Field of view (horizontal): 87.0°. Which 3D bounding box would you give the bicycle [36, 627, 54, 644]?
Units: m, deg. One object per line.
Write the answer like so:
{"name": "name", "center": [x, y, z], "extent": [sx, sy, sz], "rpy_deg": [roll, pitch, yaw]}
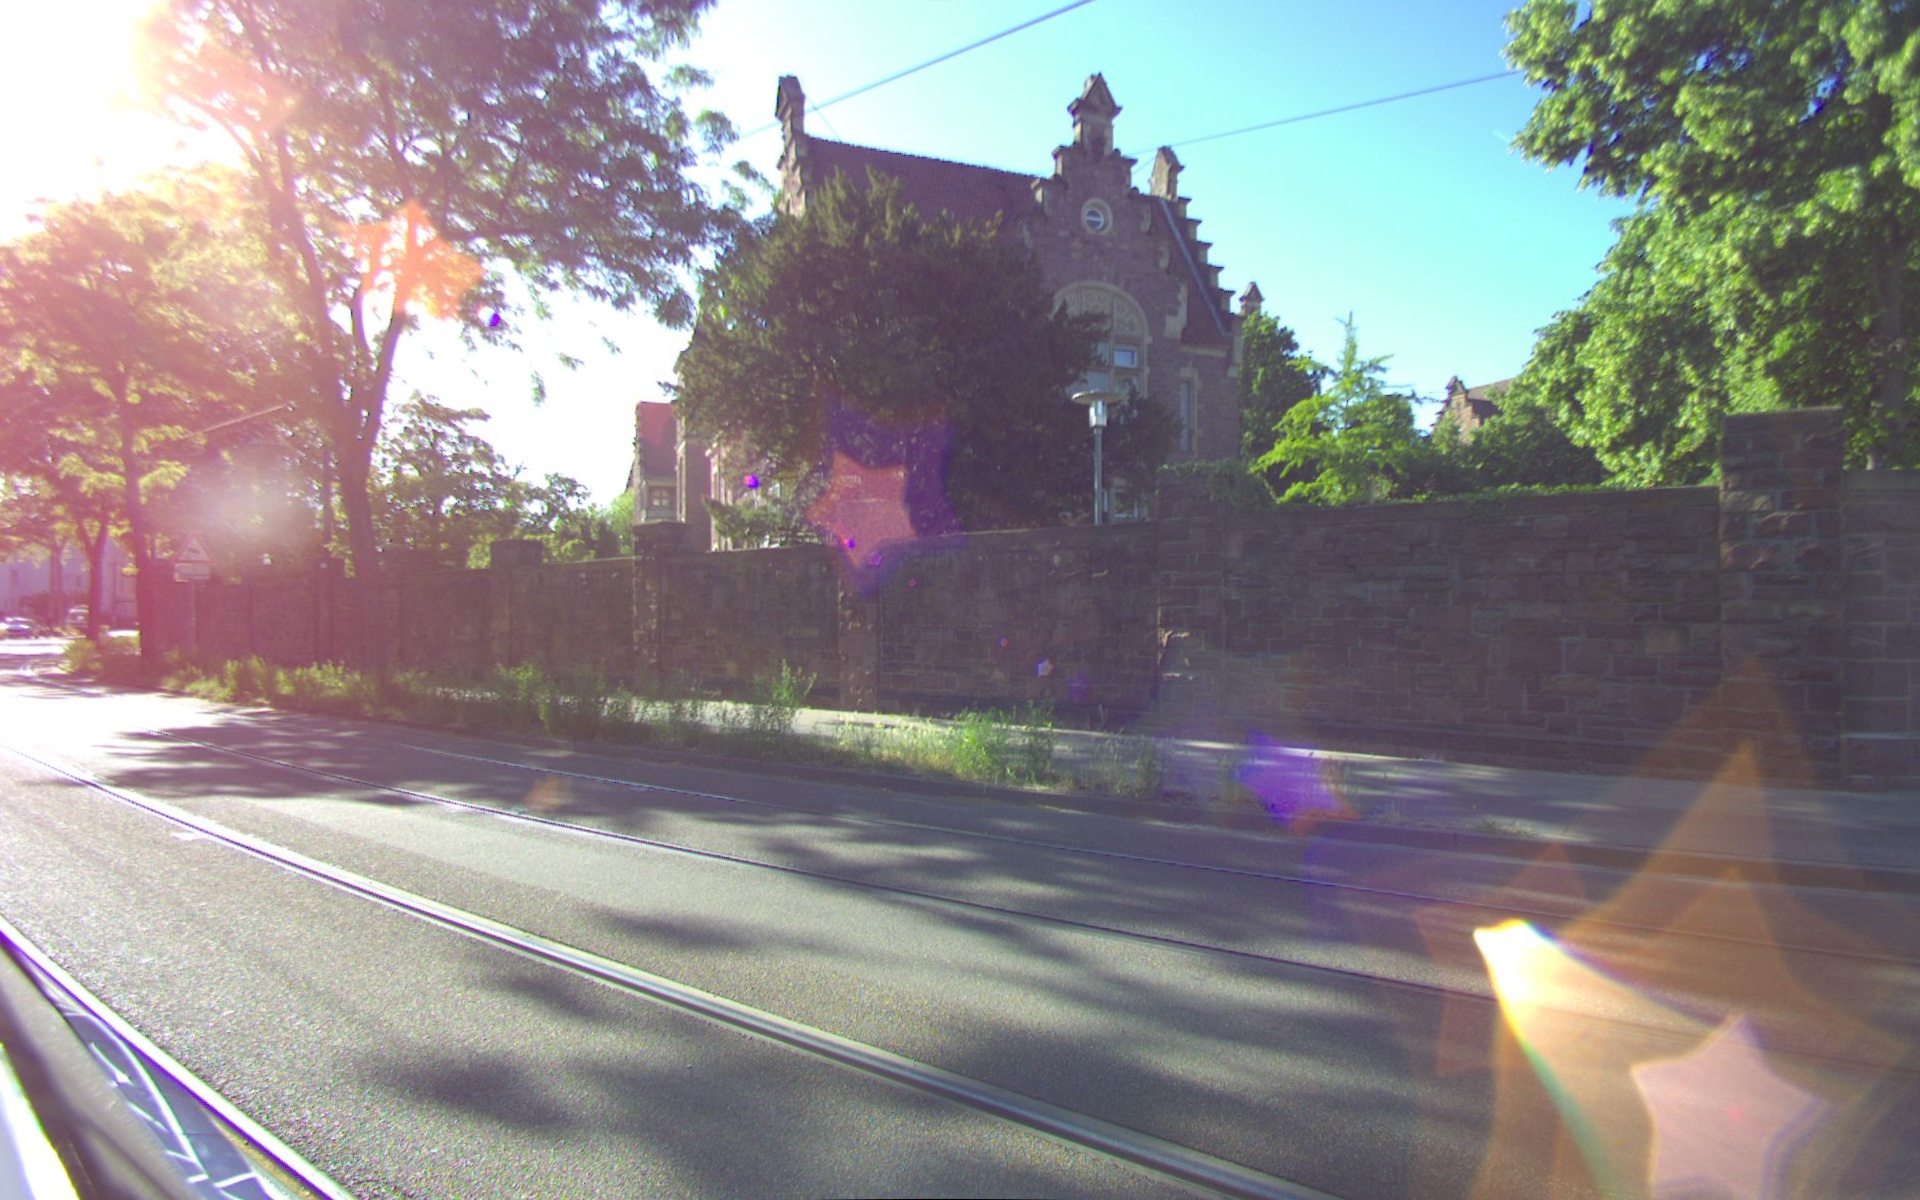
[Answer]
{"name": "bicycle", "center": [-64.510, 2.504, 71.384], "extent": [0.579, 1.120, 1.861], "rpy_deg": [0, -1, -30]}

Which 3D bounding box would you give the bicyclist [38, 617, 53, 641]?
{"name": "bicyclist", "center": [-64.515, 2.029, 71.404], "extent": [0.633, 1.653, 0.667], "rpy_deg": [-1, 0, -31]}

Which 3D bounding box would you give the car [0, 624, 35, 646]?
{"name": "car", "center": [-68.901, 2.520, 73.834], "extent": [1.969, 1.560, 4.005], "rpy_deg": [0, -1, -41]}
